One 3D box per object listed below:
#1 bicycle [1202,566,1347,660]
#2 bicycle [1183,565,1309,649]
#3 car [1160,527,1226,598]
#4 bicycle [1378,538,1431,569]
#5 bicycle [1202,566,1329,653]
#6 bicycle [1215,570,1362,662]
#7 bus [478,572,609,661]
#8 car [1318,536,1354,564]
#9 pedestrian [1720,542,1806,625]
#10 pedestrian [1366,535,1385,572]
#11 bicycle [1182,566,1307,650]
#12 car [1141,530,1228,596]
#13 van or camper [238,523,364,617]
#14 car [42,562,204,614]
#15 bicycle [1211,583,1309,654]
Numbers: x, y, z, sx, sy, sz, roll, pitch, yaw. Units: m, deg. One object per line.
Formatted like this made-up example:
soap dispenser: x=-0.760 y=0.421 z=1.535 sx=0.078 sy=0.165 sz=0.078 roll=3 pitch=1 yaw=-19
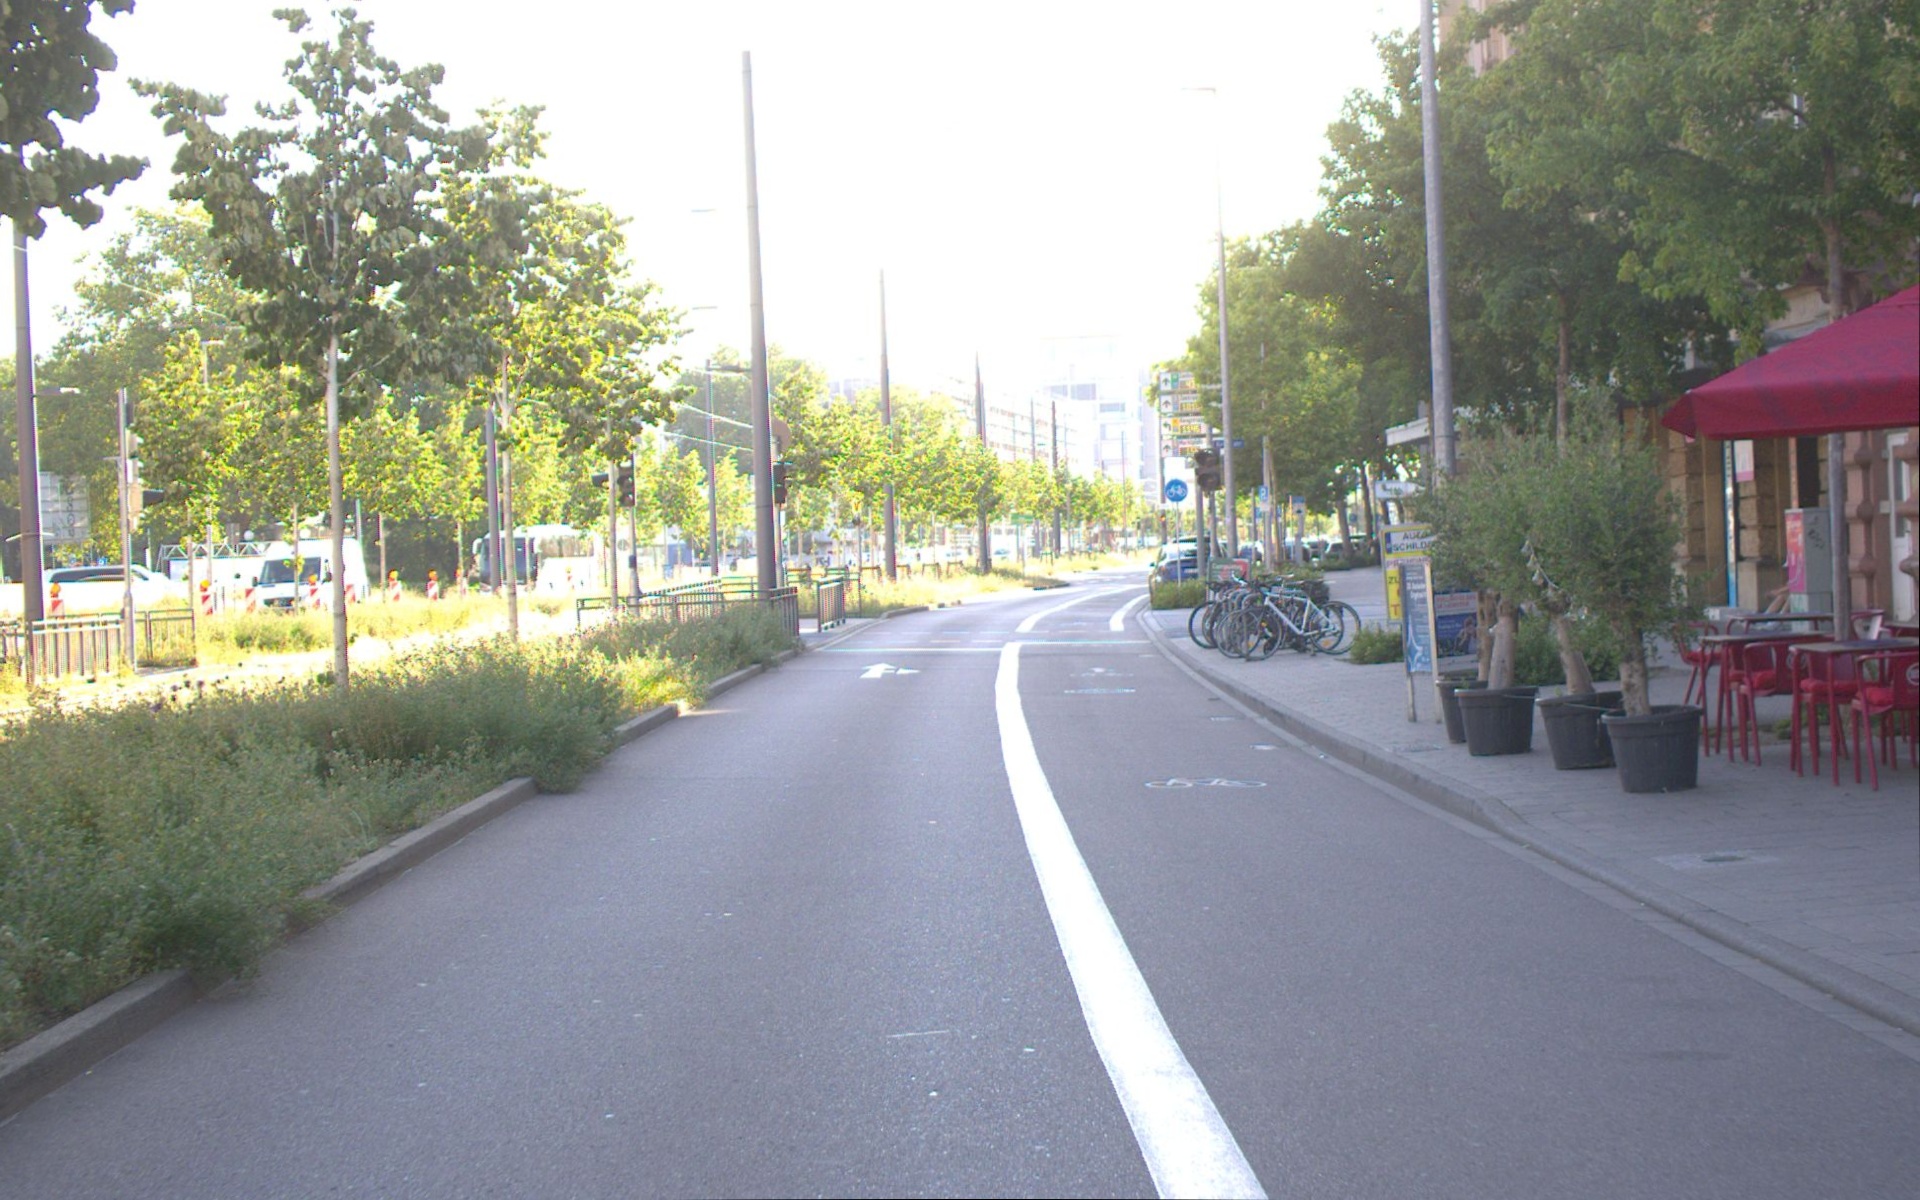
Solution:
bicycle: x=4.191 y=0.169 z=45.829 sx=1.844 sy=1.101 sz=0.566 roll=-4 pitch=1 yaw=5
bicycle: x=4.179 y=0.101 z=50.208 sx=1.754 sy=1.100 sz=0.507 roll=-4 pitch=1 yaw=5
car: x=6.738 y=-1.102 z=99.548 sx=1.735 sy=1.912 sz=4.393 roll=-4 pitch=1 yaw=4
bicycle: x=16.756 y=-1.749 z=129.636 sx=1.899 sy=1.089 sz=0.392 roll=-3 pitch=0 yaw=1
bicycle: x=4.350 y=0.136 z=48.924 sx=1.722 sy=1.100 sz=0.507 roll=-4 pitch=1 yaw=5
bicycle: x=4.233 y=0.207 z=44.318 sx=1.805 sy=1.044 sz=0.566 roll=-4 pitch=1 yaw=5
bus: x=-18.451 y=0.666 z=153.244 sx=2.800 sy=3.582 sz=12.695 roll=-2 pitch=1 yaw=7
car: x=21.024 y=-2.818 z=192.197 sx=1.707 sy=1.413 sz=4.275 roll=-4 pitch=1 yaw=9
pedestrian: x=9.617 y=-0.203 z=41.195 sx=0.813 sy=0.959 sz=0.804 roll=-2 pitch=1 yaw=1
pedestrian: x=18.754 y=-2.111 z=155.292 sx=0.789 sy=1.643 sz=1.136 roll=-3 pitch=0 yaw=7
bicycle: x=4.202 y=0.114 z=50.799 sx=1.754 sy=1.100 sz=0.507 roll=-4 pitch=1 yaw=5
car: x=5.979 y=-0.999 z=92.028 sx=1.931 sy=1.593 sz=4.699 roll=-4 pitch=1 yaw=0
van or camper: x=-19.312 y=-0.933 z=101.109 sx=2.221 sy=2.501 sz=7.201 roll=-4 pitch=1 yaw=-1
car: x=-30.293 y=-0.428 z=124.520 sx=5.227 sy=1.711 sz=2.124 roll=-2 pitch=1 yaw=6
bicycle: x=4.144 y=0.257 z=47.483 sx=1.275 sy=0.874 sz=0.507 roll=-4 pitch=1 yaw=5
